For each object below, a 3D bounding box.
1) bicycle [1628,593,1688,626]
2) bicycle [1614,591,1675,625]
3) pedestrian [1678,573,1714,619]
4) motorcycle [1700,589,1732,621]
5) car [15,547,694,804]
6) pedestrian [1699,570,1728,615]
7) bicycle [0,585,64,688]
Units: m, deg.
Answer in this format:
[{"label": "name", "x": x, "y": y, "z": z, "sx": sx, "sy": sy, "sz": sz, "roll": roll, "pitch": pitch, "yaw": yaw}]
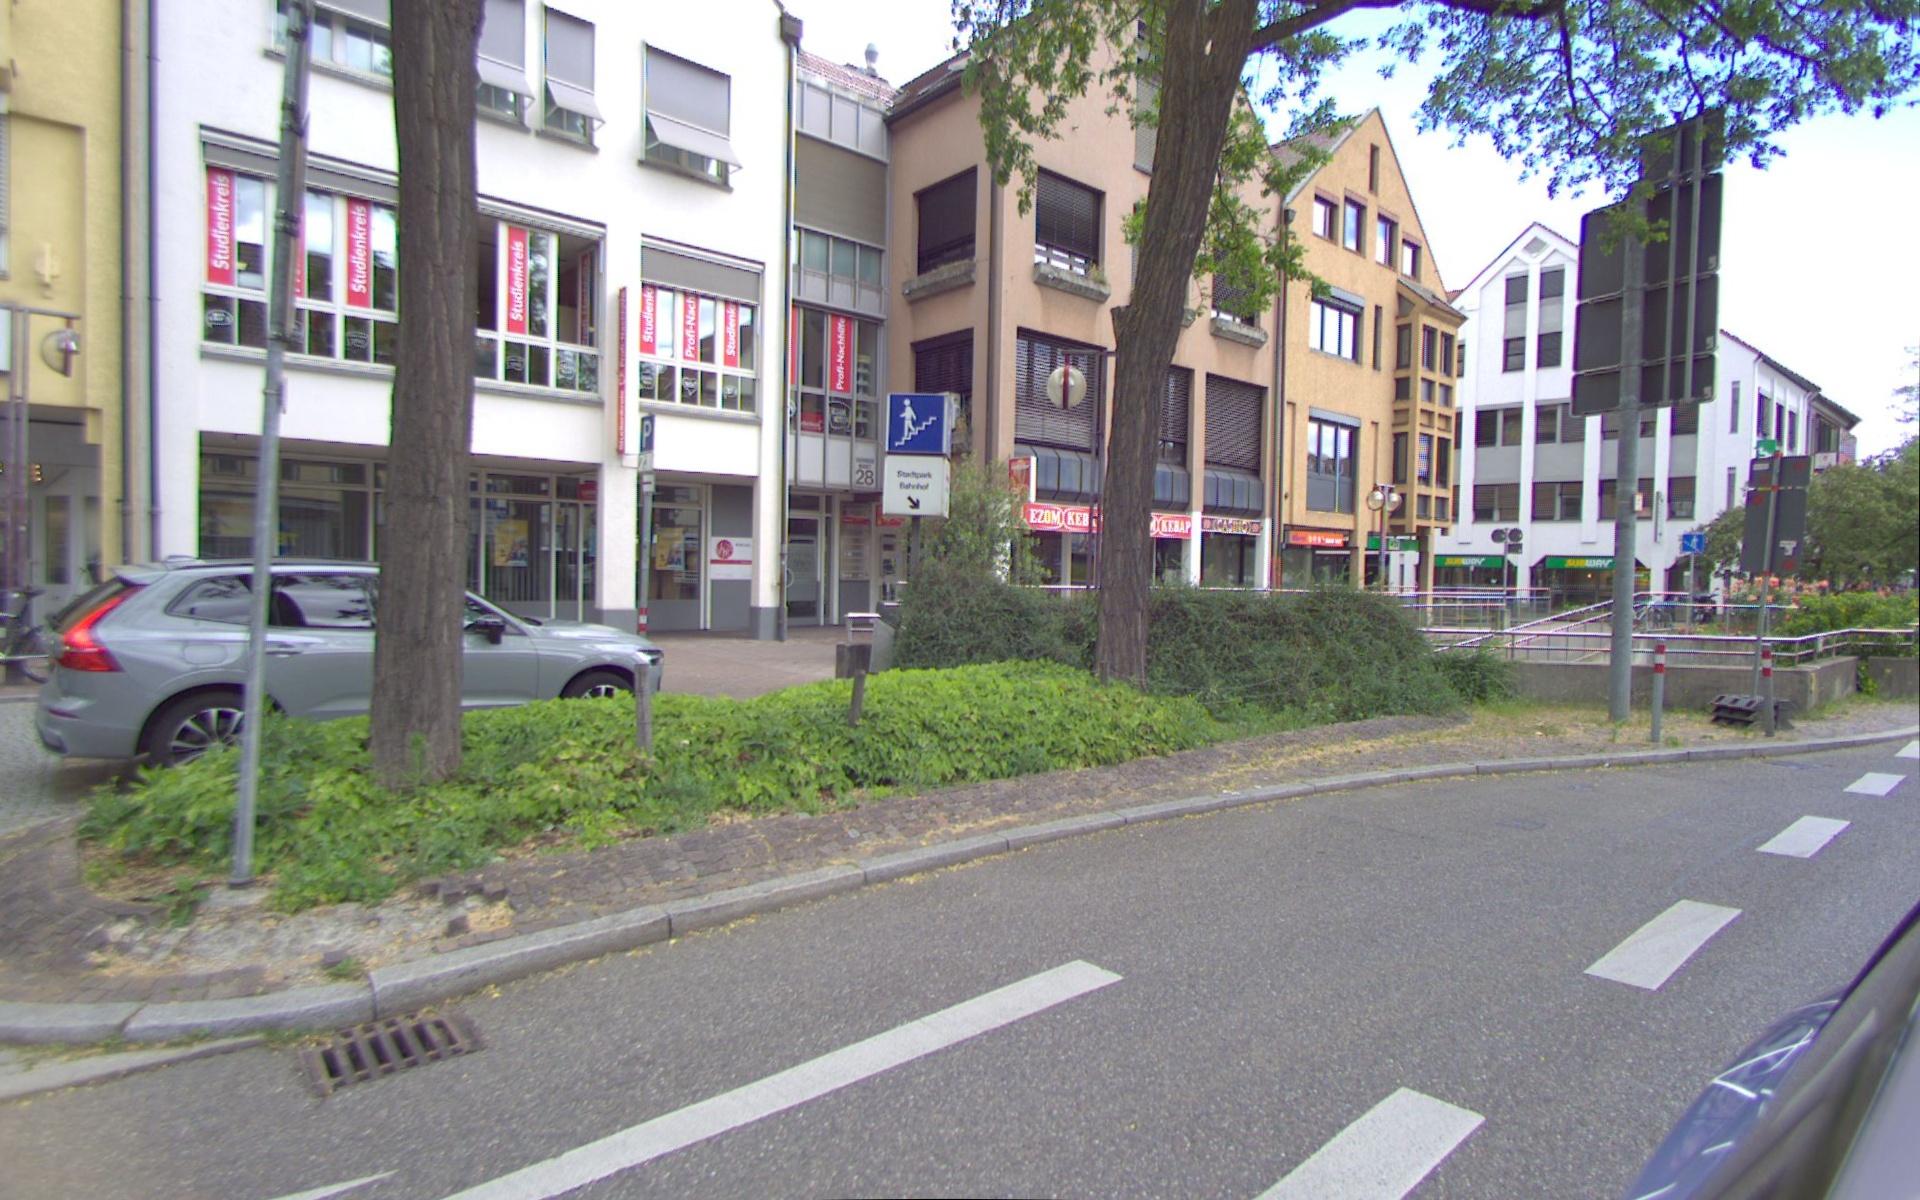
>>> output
[{"label": "bicycle", "x": 22.663, "y": 0.294, "z": 32.872, "sx": 1.584, "sy": 0.981, "sz": 0.455, "roll": 2, "pitch": 1, "yaw": 36}, {"label": "bicycle", "x": 21.943, "y": 0.251, "z": 32.437, "sx": 1.584, "sy": 1.014, "sz": 0.409, "roll": 2, "pitch": 1, "yaw": 37}, {"label": "pedestrian", "x": 29.438, "y": -0.162, "z": 40.487, "sx": 0.874, "sy": 1.779, "sz": 0.939, "roll": 1, "pitch": 1, "yaw": 17}, {"label": "motorcycle", "x": 26.975, "y": 0.172, "z": 36.088, "sx": 1.960, "sy": 1.081, "sz": 0.464, "roll": 0, "pitch": 2, "yaw": -41}, {"label": "car", "x": -4.904, "y": 0.425, "z": 8.695, "sx": 4.684, "sy": 1.615, "sz": 1.996, "roll": 0, "pitch": 2, "yaw": -44}, {"label": "pedestrian", "x": 31.196, "y": -0.315, "z": 41.891, "sx": 0.772, "sy": 1.846, "sz": 0.869, "roll": 0, "pitch": 0, "yaw": -44}, {"label": "bicycle", "x": -10.230, "y": 0.376, "z": 10.527, "sx": 1.354, "sy": 1.057, "sz": 0.393, "roll": 0, "pitch": 2, "yaw": -41}]
